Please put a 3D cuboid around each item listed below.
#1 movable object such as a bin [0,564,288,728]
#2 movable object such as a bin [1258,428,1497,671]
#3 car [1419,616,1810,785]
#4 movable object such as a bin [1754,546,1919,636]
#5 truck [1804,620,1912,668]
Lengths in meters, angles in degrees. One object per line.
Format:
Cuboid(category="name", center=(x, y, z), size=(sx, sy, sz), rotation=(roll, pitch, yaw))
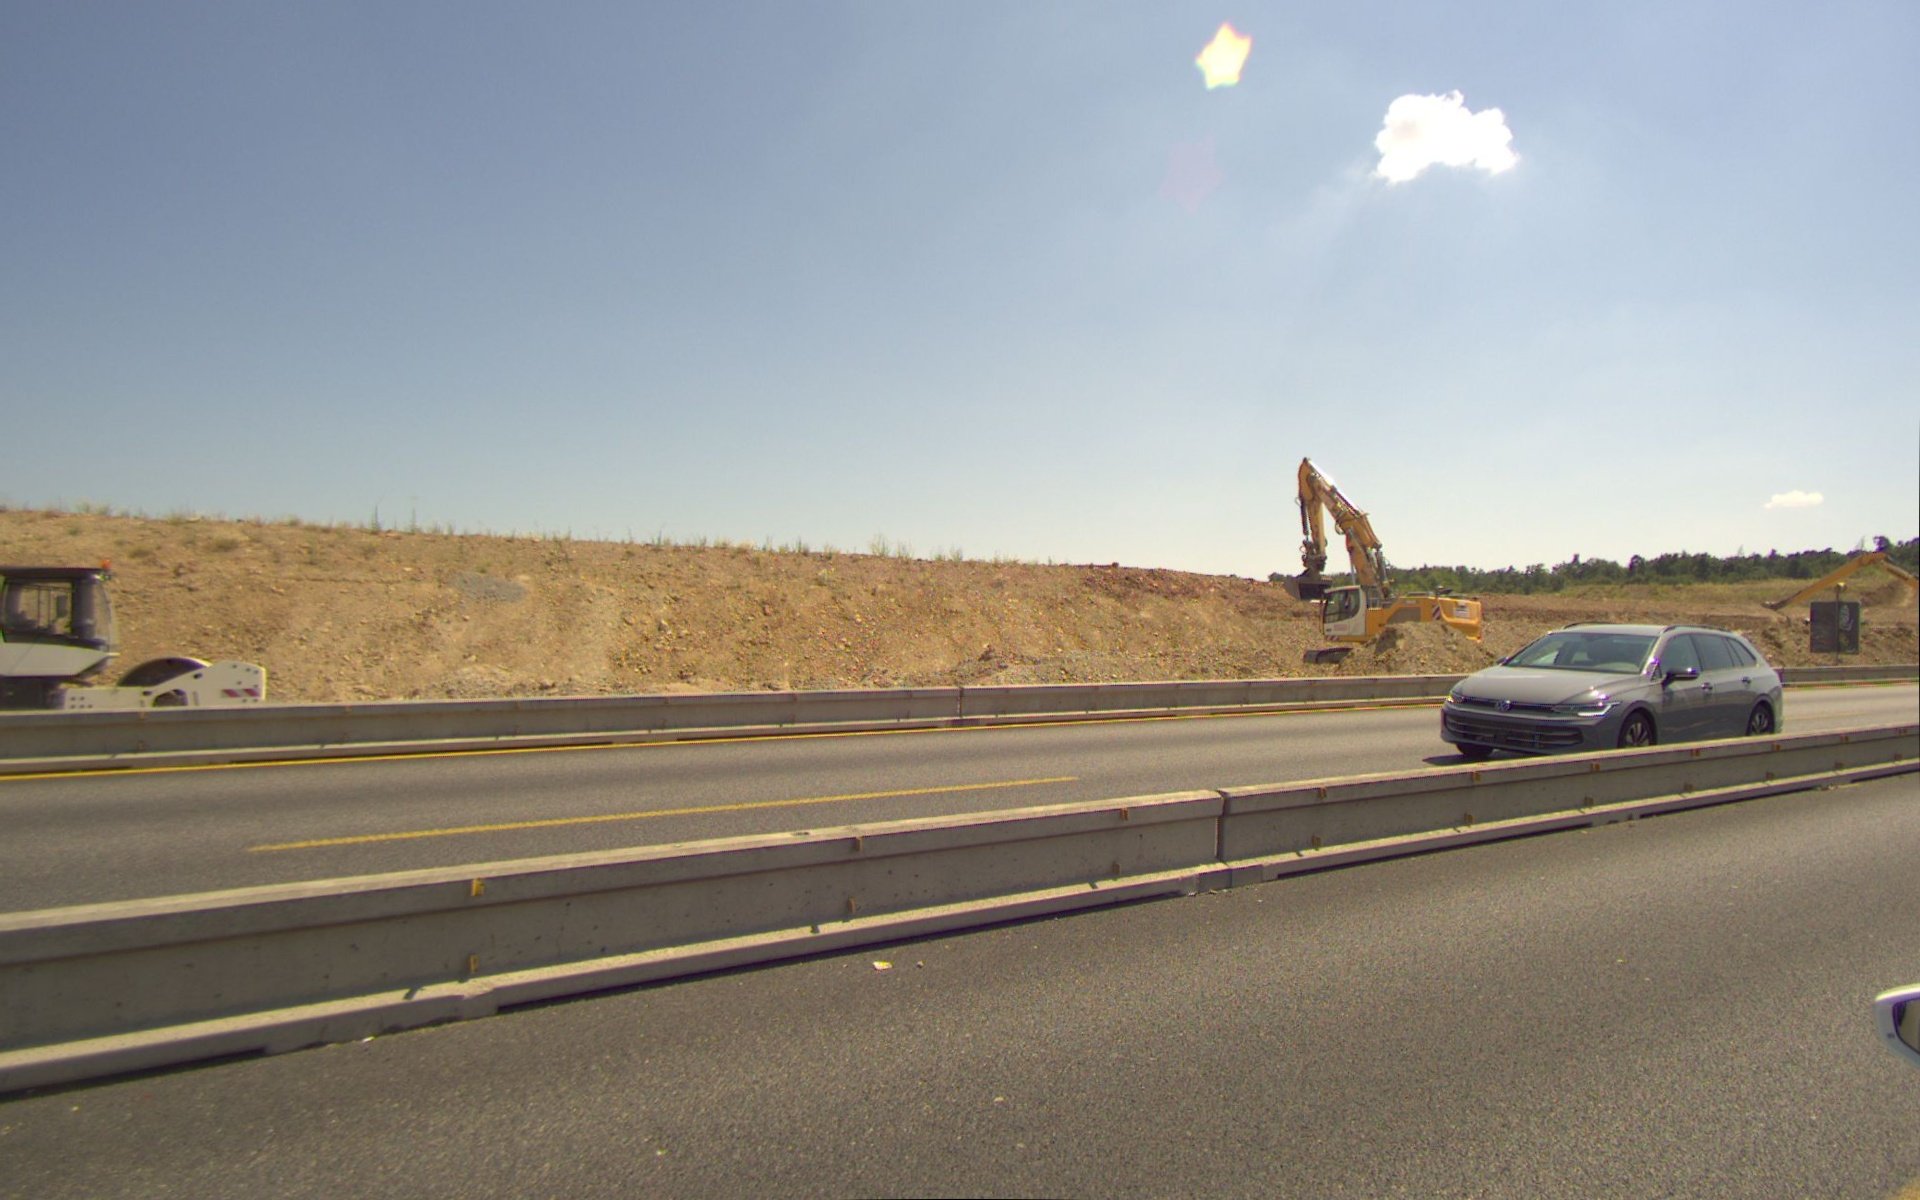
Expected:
Cuboid(category="movable object such as a bin", center=(-14.896, 0.718, 16.135), size=(6.665, 2.493, 1.694), rotation=(1, -1, -30))
Cuboid(category="movable object such as a bin", center=(14.880, -1.560, 36.526), size=(3.402, 7.816, 7.607), rotation=(1, -1, -28))
Cuboid(category="car", center=(7.253, 0.974, 11.032), size=(4.471, 1.496, 1.778), rotation=(1, 0, -30))
Cuboid(category="movable object such as a bin", center=(78.039, -0.667, 83.773), size=(3.574, 7.327, 18.616), rotation=(1, -1, -31))
Cuboid(category="truck", center=(52.662, 2.523, 58.834), size=(8.312, 2.652, 2.305), rotation=(1, -1, -30))
